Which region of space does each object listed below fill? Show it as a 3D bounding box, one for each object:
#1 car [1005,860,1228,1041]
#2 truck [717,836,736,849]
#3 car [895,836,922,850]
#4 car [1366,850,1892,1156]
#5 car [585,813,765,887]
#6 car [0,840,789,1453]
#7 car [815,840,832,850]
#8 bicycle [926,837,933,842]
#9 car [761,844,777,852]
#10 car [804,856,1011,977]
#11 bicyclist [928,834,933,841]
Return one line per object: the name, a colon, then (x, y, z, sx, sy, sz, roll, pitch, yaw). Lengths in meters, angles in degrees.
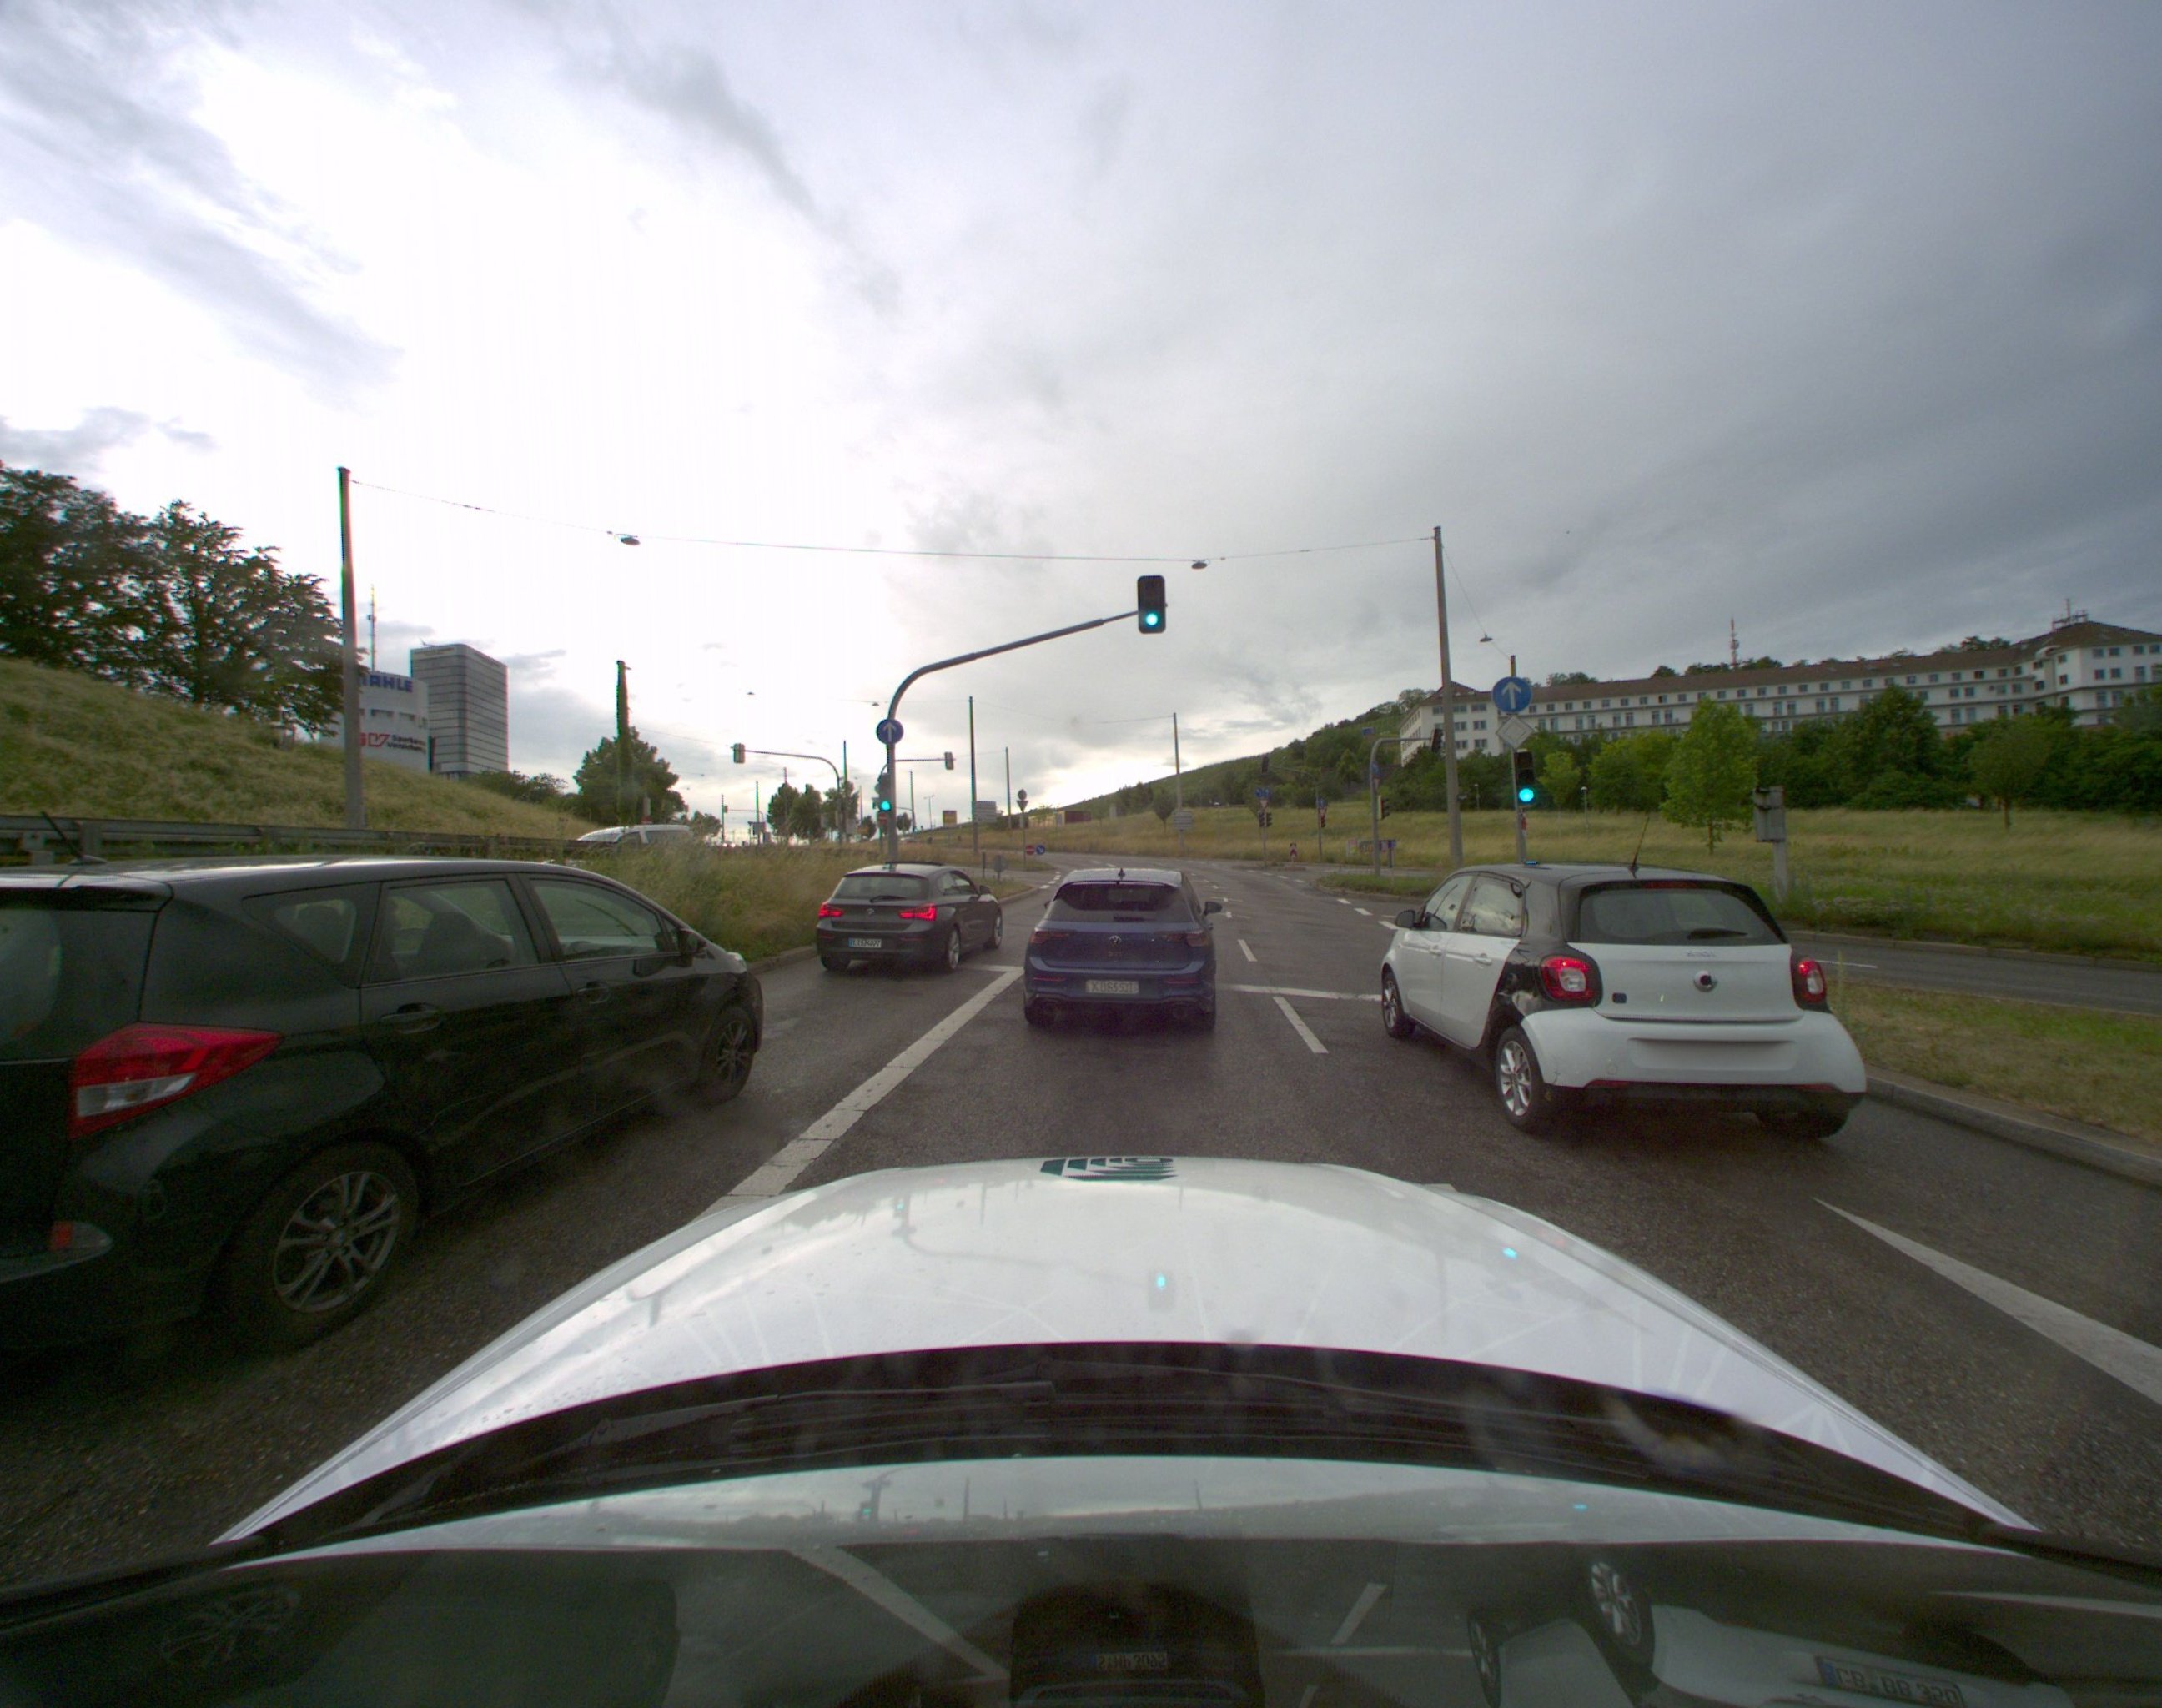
car: (0.519, 0.808, 8.601, 1.815, 1.460, 3.816, -1, 0, 7)
truck: (-94.126, -3.061, 216.048, 3.282, 3.074, 6.109, 2, 0, -36)
car: (-20.835, -1.320, 98.201, 2.005, 1.618, 4.807, 1, 0, -28)
car: (3.320, 0.775, 5.801, 1.649, 1.503, 3.456, -1, -1, 5)
car: (-11.284, -0.054, 23.075, 1.802, 1.850, 4.718, -1, -1, 17)
car: (-3.065, 0.730, 3.978, 1.634, 1.504, 3.782, 2, 0, 4)
car: (-44.135, -1.547, 139.490, 2.004, 1.636, 4.382, 2, 0, -27)
bicycle: (-23.320, -2.292, 125.661, 0.521, 0.775, 1.605, 1, 0, -31)
car: (-63.093, -1.278, 164.555, 2.008, 1.477, 4.455, 0, -2, -33)
car: (-2.336, 0.783, 12.111, 1.693, 1.459, 4.123, -1, 0, 7)
bicyclist: (-23.174, -2.603, 125.464, 0.526, 1.046, 0.575, 3, -1, -32)
